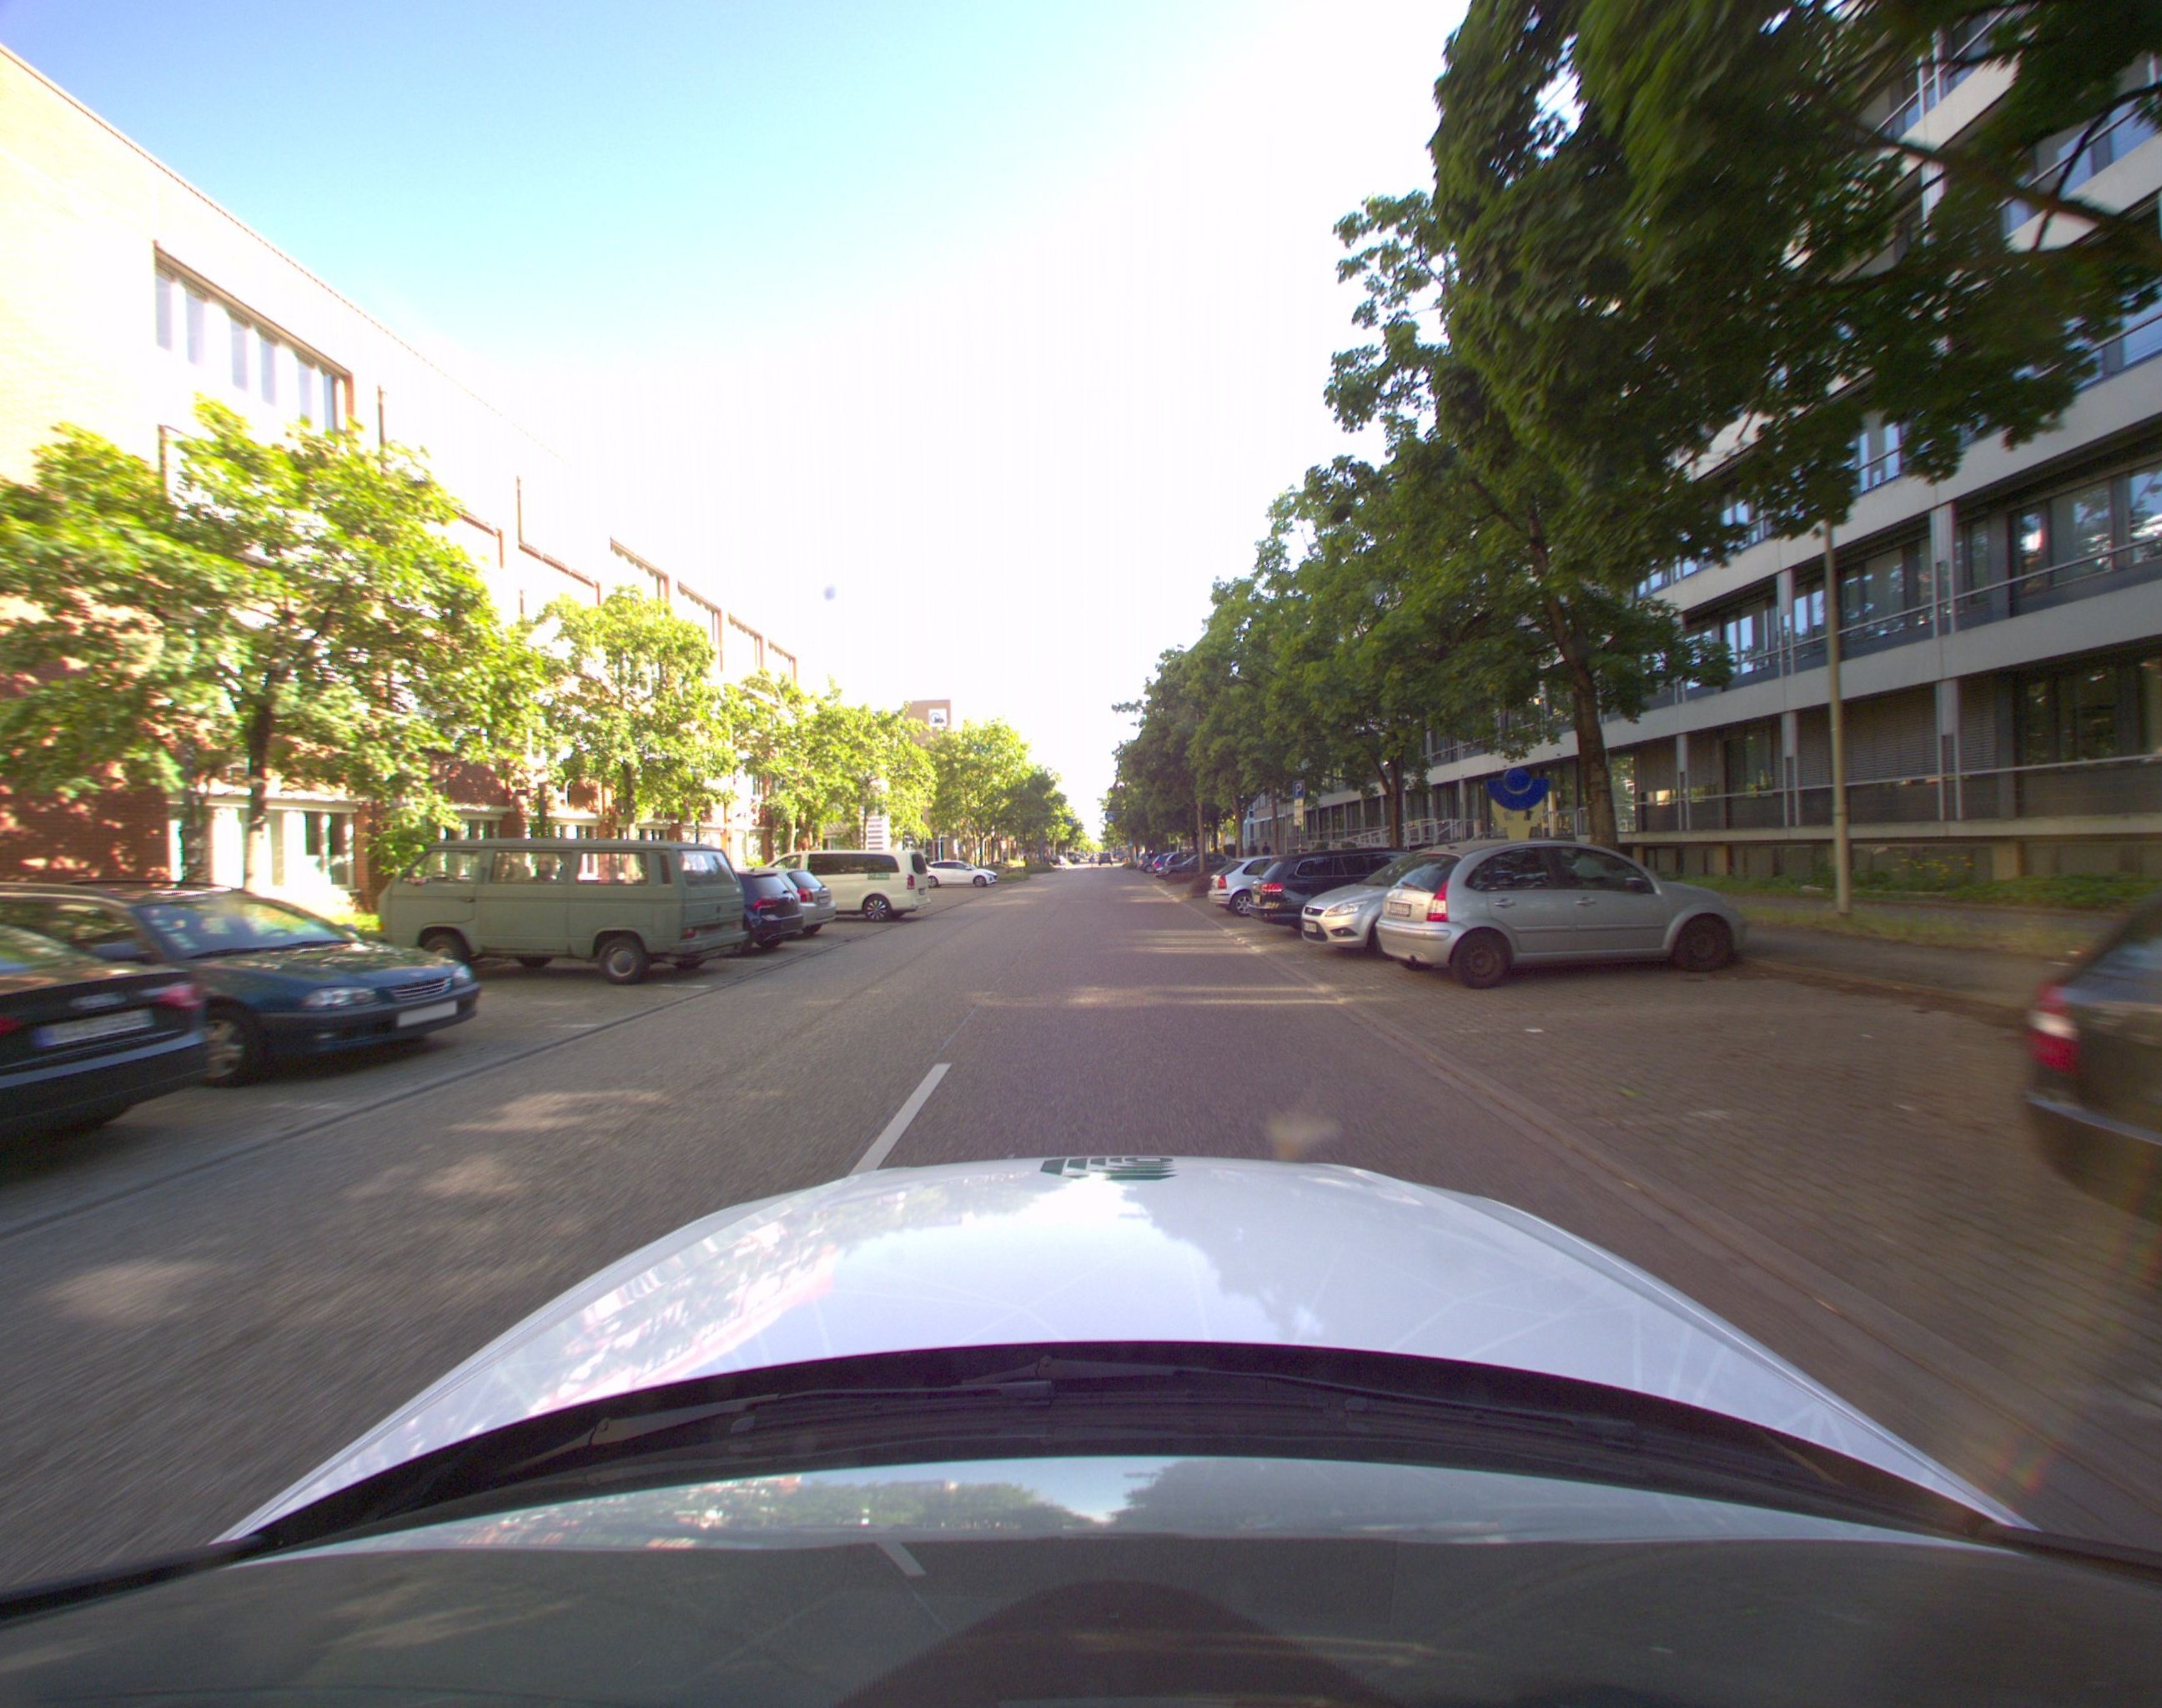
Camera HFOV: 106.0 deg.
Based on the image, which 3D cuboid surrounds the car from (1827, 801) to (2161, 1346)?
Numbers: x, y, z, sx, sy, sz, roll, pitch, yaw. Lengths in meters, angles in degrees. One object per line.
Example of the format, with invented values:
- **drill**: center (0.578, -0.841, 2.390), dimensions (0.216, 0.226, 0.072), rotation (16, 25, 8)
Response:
- **car**: center (5.293, 0.500, 2.398), dimensions (4.505, 1.542, 1.920), rotation (-3, 0, -3)

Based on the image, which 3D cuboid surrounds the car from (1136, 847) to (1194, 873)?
- **car**: center (6.583, 0.467, 64.189), dimensions (4.339, 1.704, 1.811), rotation (-3, 0, -2)

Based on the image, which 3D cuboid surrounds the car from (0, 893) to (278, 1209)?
- **car**: center (-7.006, 0.971, 4.262), dimensions (3.719, 1.427, 1.722), rotation (0, 0, -5)

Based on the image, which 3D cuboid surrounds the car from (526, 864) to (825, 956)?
- **car**: center (-7.025, 0.942, 14.414), dimensions (4.302, 1.477, 1.945), rotation (0, 0, 3)

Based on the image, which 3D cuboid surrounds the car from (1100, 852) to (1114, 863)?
- **car**: center (3.702, 0.533, 117.977), dimensions (1.986, 1.640, 4.001), rotation (0, 0, 1)

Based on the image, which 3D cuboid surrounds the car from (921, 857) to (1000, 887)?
- **car**: center (-6.501, 0.966, 44.171), dimensions (3.974, 1.486, 1.807), rotation (-1, 0, 0)

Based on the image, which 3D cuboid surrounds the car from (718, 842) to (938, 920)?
- **car**: center (-6.636, 0.697, 21.780), dimensions (5.239, 1.967, 1.943), rotation (0, 0, 1)

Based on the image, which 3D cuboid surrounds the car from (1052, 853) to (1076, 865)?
- **car**: center (-3.066, 0.939, 146.260), dimensions (3.967, 2.013, 2.003), rotation (-2, 0, 5)

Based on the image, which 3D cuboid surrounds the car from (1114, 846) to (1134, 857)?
- **car**: center (8.811, -0.462, 167.190), dimensions (3.975, 2.013, 1.999), rotation (-2, 0, -1)

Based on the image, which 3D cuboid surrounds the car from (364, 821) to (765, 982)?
- **car**: center (-7.214, 0.623, 11.735), dimensions (4.469, 2.090, 2.085), rotation (0, 0, 3)

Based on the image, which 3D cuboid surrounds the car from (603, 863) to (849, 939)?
- **car**: center (-7.355, 0.936, 17.147), dimensions (4.302, 1.477, 1.945), rotation (0, 0, 3)

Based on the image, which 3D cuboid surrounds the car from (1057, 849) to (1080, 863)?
- **car**: center (-2.339, 0.383, 154.320), dimensions (3.967, 2.541, 1.866), rotation (-1, 0, 6)

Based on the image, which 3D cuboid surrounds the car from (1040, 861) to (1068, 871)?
- **car**: center (-3.955, 1.754, 118.968), dimensions (3.847, 1.473, 1.807), rotation (0, 0, -9)

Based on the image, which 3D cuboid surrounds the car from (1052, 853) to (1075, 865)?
- **car**: center (-3.183, 0.836, 149.463), dimensions (3.967, 2.013, 2.003), rotation (-2, 0, 5)

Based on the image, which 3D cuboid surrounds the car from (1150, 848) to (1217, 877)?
- **car**: center (6.261, 0.506, 50.042), dimensions (3.933, 1.514, 1.814), rotation (-4, 0, 2)

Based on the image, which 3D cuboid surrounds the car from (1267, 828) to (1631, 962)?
- **car**: center (5.065, 0.537, 11.693), dimensions (4.272, 1.493, 2.003), rotation (-3, 0, -1)

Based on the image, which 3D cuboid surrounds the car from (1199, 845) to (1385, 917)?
- **car**: center (4.986, 0.628, 19.593), dimensions (3.957, 1.420, 1.710), rotation (-3, 0, -1)

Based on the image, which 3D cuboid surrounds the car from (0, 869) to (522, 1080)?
- **car**: center (-7.406, 0.918, 6.926), dimensions (4.117, 1.528, 1.726), rotation (0, 0, 1)

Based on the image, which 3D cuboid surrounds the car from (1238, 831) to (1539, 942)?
- **car**: center (5.252, 0.545, 14.353), dimensions (4.575, 1.493, 1.763), rotation (-4, 0, 1)

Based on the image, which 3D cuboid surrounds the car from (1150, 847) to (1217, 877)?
- **car**: center (5.941, 0.454, 47.437), dimensions (3.628, 1.514, 1.813), rotation (-4, 0, 1)

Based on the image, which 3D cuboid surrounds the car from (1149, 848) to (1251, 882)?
- **car**: center (6.002, 0.542, 41.541), dimensions (4.810, 1.420, 2.031), rotation (-4, 0, -1)

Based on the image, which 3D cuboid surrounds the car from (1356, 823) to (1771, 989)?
- **car**: center (5.303, 0.535, 9.269), dimensions (3.733, 1.493, 1.616), rotation (-3, 0, -2)

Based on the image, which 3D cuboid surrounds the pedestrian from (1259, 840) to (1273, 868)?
- **pedestrian**: center (12.010, 0.007, 52.857), dimensions (0.605, 1.745, 1.191), rotation (-2, 0, 1)
